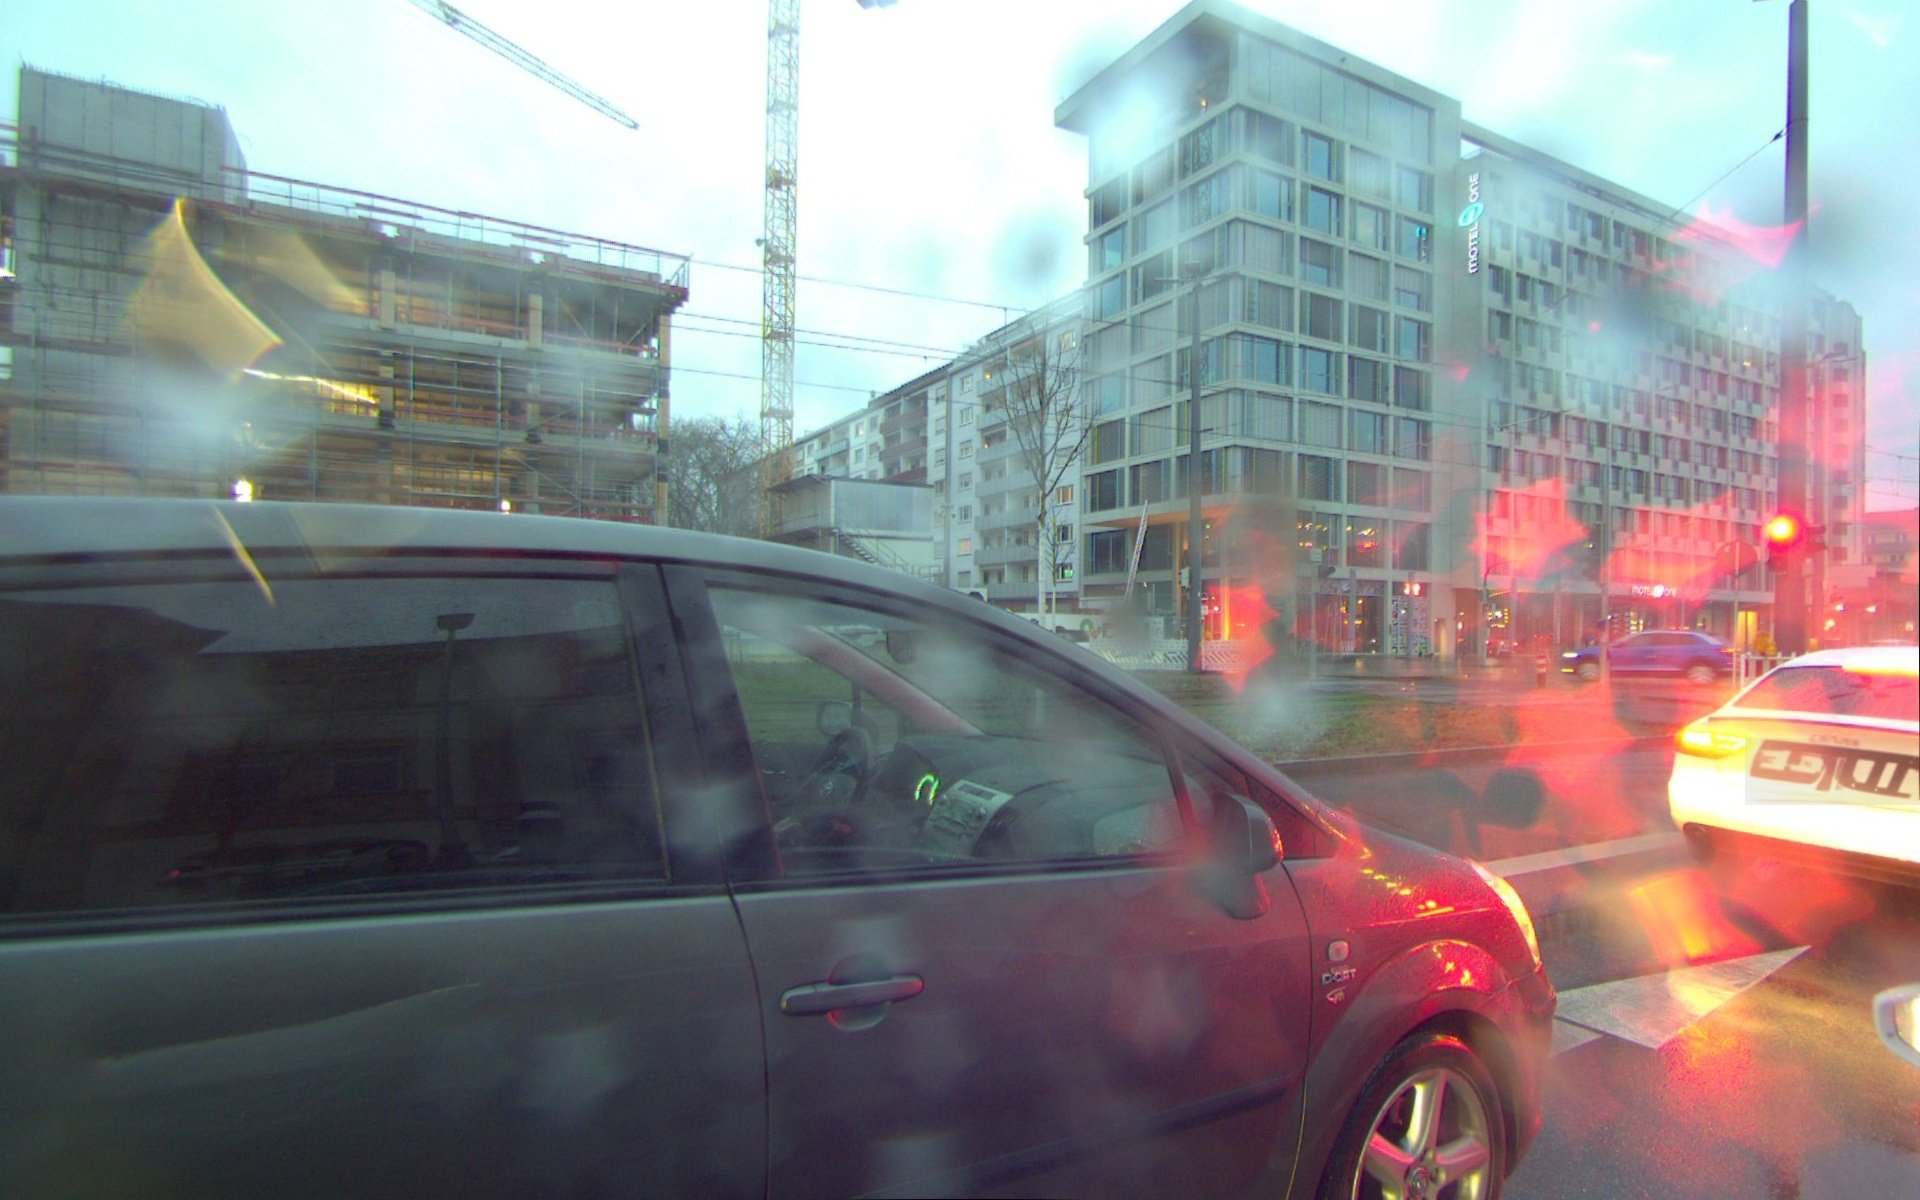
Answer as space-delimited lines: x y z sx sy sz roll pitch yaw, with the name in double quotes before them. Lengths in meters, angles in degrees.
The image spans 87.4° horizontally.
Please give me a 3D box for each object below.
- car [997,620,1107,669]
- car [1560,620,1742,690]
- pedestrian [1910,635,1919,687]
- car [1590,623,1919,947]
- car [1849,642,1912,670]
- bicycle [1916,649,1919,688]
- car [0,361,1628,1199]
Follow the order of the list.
"car" 3.170 1.531 35.166 3.627 1.497 1.628 2 0 -1
"car" 19.315 1.491 28.189 3.945 1.644 1.709 2 0 45
"pedestrian" 32.791 2.087 34.043 0.808 1.734 0.782 2 0 -45
"car" 6.055 0.918 6.224 4.320 1.475 1.983 1 0 -32
"car" 53.224 3.243 58.093 3.654 1.527 1.666 3 0 -31
"bicycle" 28.579 2.017 28.019 0.807 1.103 2.649 2 0 -35
"car" -0.571 0.641 2.130 4.089 1.668 1.801 1 0 -32
